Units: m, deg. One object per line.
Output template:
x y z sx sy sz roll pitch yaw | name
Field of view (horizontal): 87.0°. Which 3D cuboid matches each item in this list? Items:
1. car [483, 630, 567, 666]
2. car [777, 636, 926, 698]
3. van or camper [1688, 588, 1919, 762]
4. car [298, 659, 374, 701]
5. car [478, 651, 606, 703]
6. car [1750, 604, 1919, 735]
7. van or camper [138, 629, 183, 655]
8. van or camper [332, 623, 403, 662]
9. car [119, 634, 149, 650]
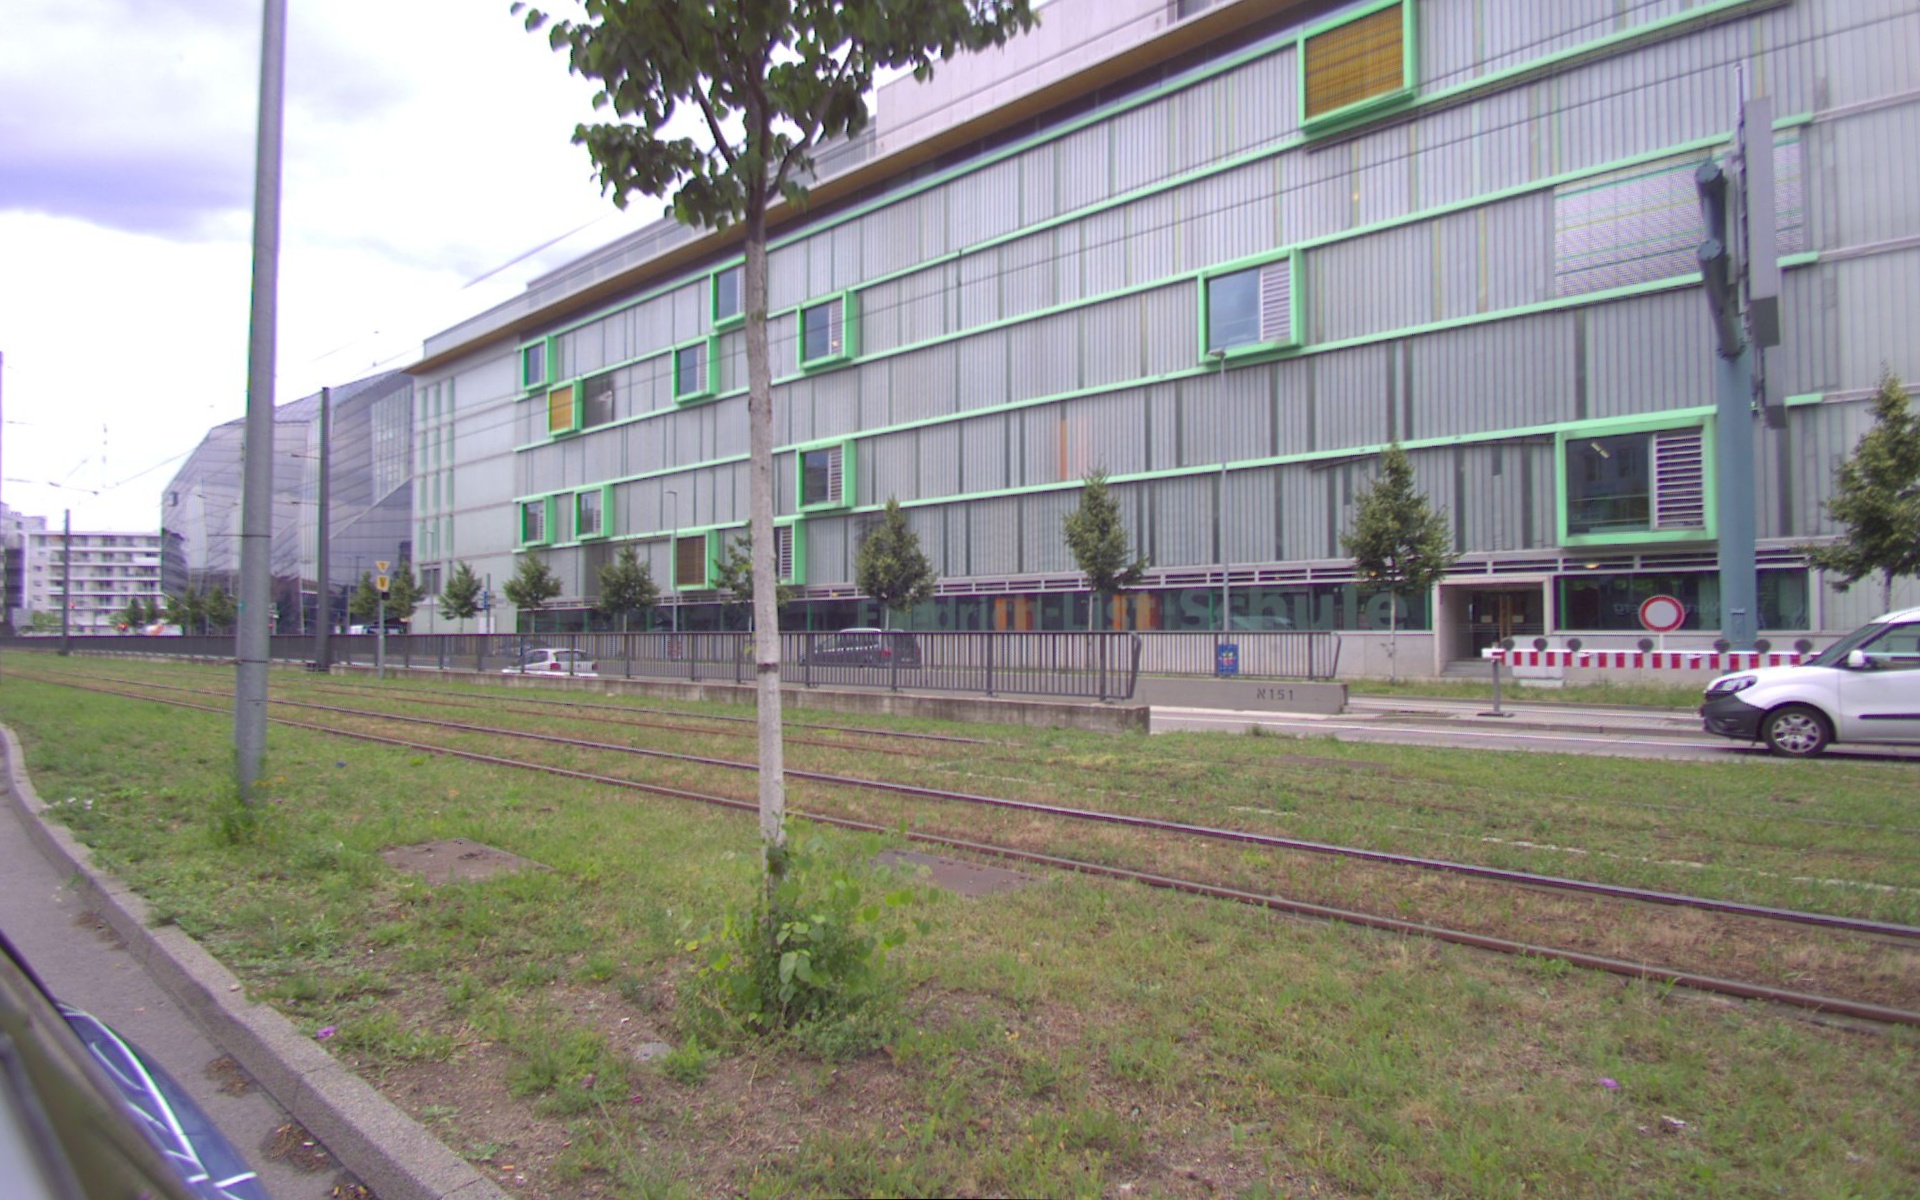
-21.178 2.320 49.183 4.645 1.679 1.972 -2 -3 42 | car
-3.575 2.097 32.639 4.965 1.837 1.972 -2 -3 42 | car
11.547 0.851 11.621 5.114 1.915 1.872 -2 -3 36 | van or camper
-27.119 3.422 43.912 1.970 1.598 4.383 2 -3 -43 | car
-13.036 2.332 31.455 4.568 1.490 1.744 -2 -3 40 | car
16.055 1.088 16.153 5.292 2.029 1.972 -2 -3 42 | car
-74.396 3.887 94.144 6.503 2.304 2.150 -3 -2 42 | van or camper
-36.634 2.613 62.536 5.356 2.304 2.150 -2 -3 41 | van or camper
-92.257 4.669 112.978 4.766 1.605 1.972 -5 -4 43 | car
